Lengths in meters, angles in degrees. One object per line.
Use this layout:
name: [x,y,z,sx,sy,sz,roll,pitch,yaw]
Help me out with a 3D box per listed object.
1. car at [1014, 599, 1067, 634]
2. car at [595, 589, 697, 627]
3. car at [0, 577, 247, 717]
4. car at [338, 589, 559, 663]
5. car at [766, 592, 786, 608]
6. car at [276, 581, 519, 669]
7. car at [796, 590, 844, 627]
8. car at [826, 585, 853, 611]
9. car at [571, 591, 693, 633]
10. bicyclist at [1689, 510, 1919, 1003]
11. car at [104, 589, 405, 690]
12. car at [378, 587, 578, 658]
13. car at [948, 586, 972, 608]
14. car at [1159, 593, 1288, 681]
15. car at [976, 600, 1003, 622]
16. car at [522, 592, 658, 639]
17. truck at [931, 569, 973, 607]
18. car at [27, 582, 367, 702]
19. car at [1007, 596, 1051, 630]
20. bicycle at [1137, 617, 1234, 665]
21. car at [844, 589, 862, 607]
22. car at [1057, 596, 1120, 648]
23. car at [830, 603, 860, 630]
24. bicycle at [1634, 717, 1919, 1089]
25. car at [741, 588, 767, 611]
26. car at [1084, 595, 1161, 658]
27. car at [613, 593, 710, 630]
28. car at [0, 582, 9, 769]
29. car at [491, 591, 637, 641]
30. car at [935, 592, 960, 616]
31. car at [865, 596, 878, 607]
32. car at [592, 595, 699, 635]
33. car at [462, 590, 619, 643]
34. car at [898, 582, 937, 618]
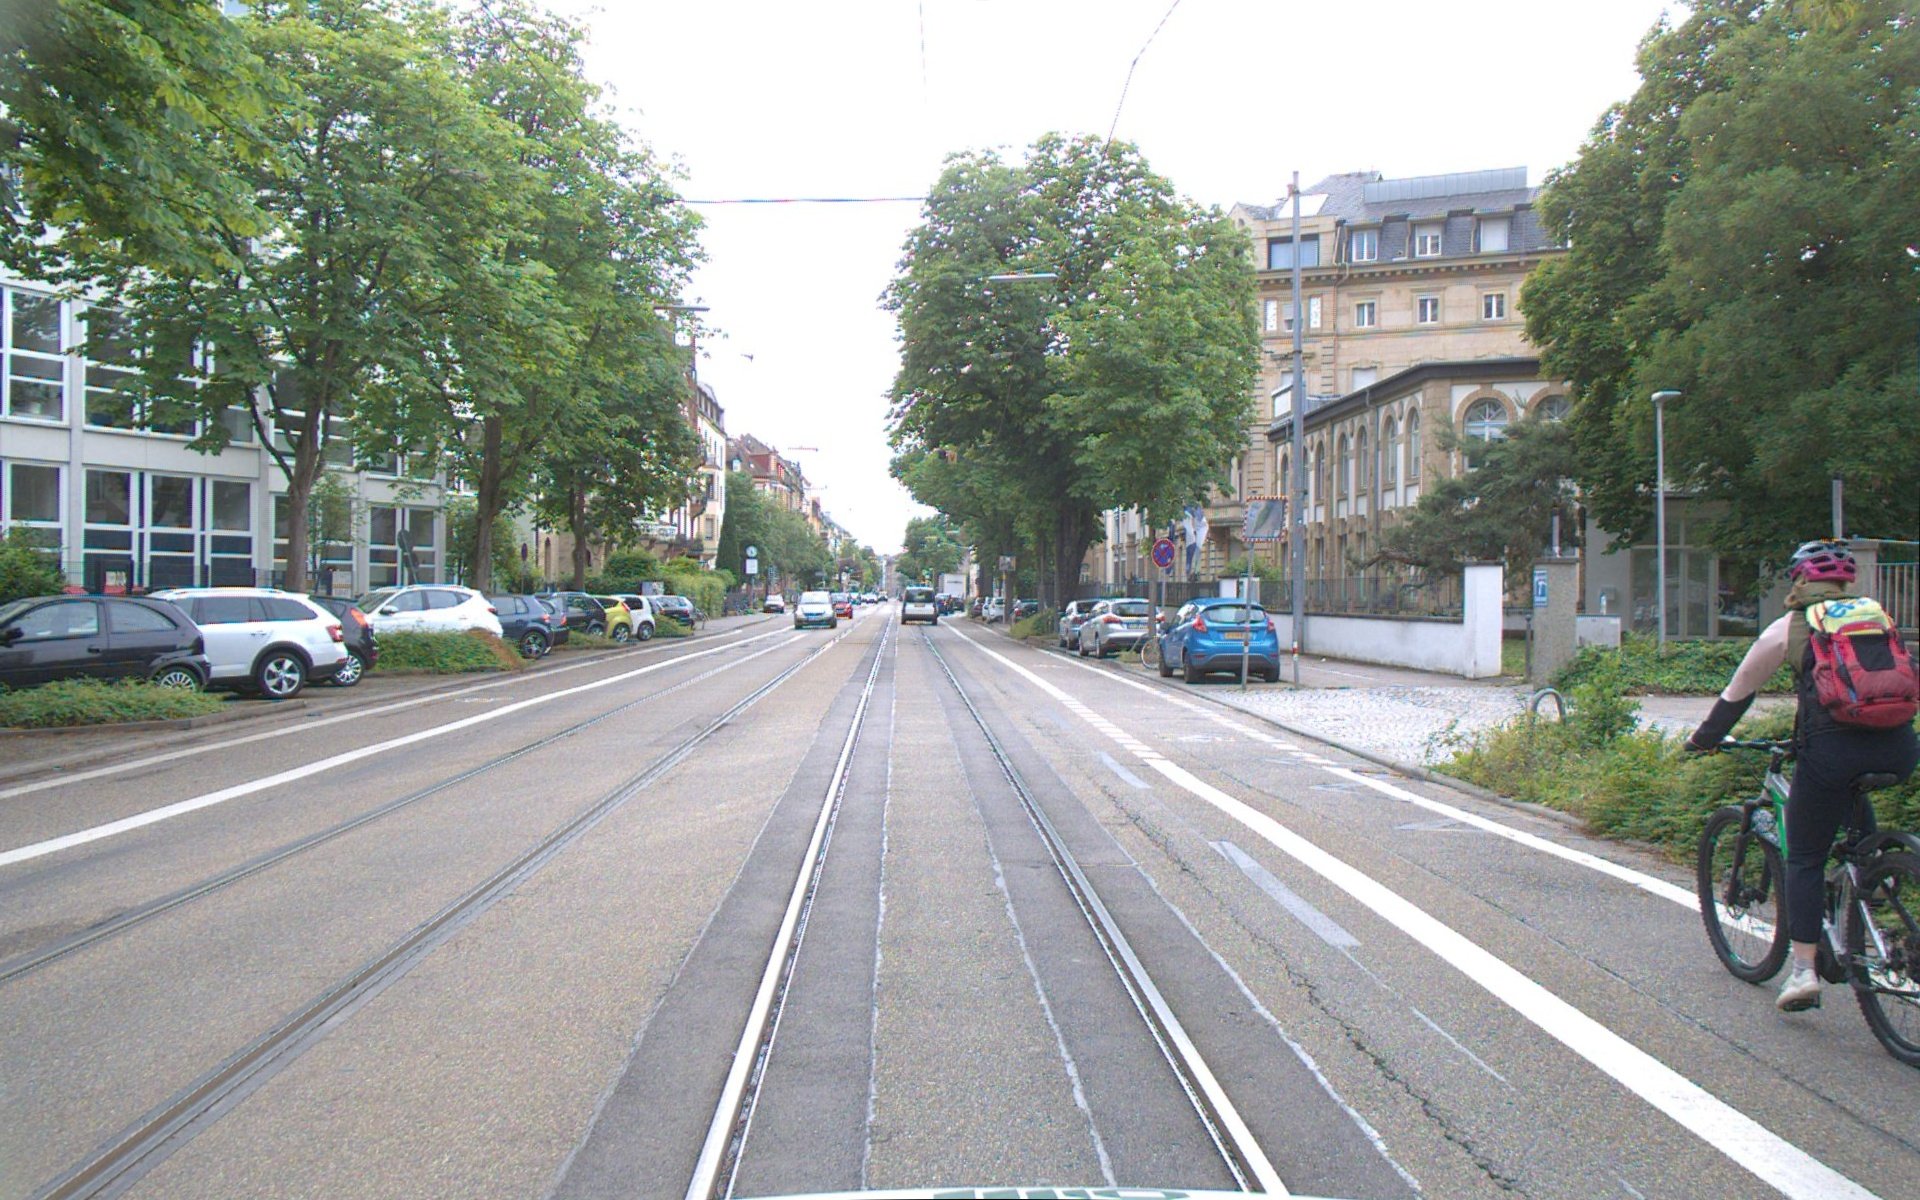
car: [3.053,0.625,63.213,1.835,1.273,4.000,0,0,0]
car: [-12.453,0.330,65.643,3.662,1.410,1.686,1,0,-27]
car: [-10.632,0.519,19.559,1.671,1.550,3.681,2,0,43]
car: [-11.021,0.557,35.849,1.670,1.479,4.319,2,0,42]
car: [-15.520,-0.007,139.366,1.609,1.378,3.873,0,0,-5]
car: [-11.032,0.484,32.688,1.668,1.583,4.325,1,0,39]
car: [-6.099,0.344,72.388,1.862,1.557,3.752,-1,0,-2]
car: [-11.611,-0.241,159.772,2.159,2.460,4.001,0,0,2]
car: [-11.315,0.419,57.215,1.670,1.375,3.944,2,0,42]
bicyclist: [3.159,0.519,5.963,0.644,1.638,0.920,0,0,-1]
car: [-10.920,0.607,25.744,3.991,1.430,1.675,1,0,-40]
car: [-11.348,0.543,39.154,1.670,1.562,4.319,1,0,42]
car: [-0.011,-0.275,154.351,1.954,2.049,3.997,0,0,-4]
car: [4.713,0.626,29.994,1.640,1.486,3.431,1,0,-3]
car: [1.961,0.723,110.849,1.733,1.423,3.795,0,0,0]
car: [-11.599,0.500,52.029,1.670,1.375,3.944,2,0,42]
truck: [-0.942,-1.335,183.759,3.733,4.100,10.207,0,0,-5]
car: [-10.542,0.559,22.990,3.991,1.510,1.675,1,0,-40]
car: [2.977,0.529,71.605,1.754,1.423,3.795,0,0,0]
bicycle: [4.742,0.860,34.838,1.973,0.973,0.533,0,0,-6]
car: [-13.195,-0.259,204.084,2.161,2.295,3.998,0,0,-2]
car: [3.765,0.626,49.073,1.446,1.454,3.563,0,0,-3]
car: [-6.841,0.958,98.489,1.642,1.549,2.781,1,0,-2]
bicycle: [3.183,1.015,6.152,0.479,0.996,2.057,1,0,-1]
car: [-20.416,-0.068,164.395,2.133,2.246,4.218,0,0,-1]
car: [4.096,0.634,42.015,1.446,1.507,3.563,1,0,-3]
car: [-12.420,0.488,68.827,3.662,1.410,1.686,1,0,-27]
car: [-9.775,0.583,12.983,1.671,1.550,3.681,2,0,43]
car: [-11.695,0.479,48.972,1.670,1.375,3.944,2,0,42]
car: [-0.982,0.306,130.424,1.953,1.825,3.999,0,0,-1]
car: [-13.598,0.179,253.818,1.736,1.672,3.567,0,0,2]
car: [-11.936,0.576,62.813,3.662,1.410,1.686,1,0,-27]
car: [-11.538,0.460,45.688,1.670,1.375,3.944,2,0,42]
car: [-2.093,0.001,82.540,1.774,1.738,3.699,1,0,0]
